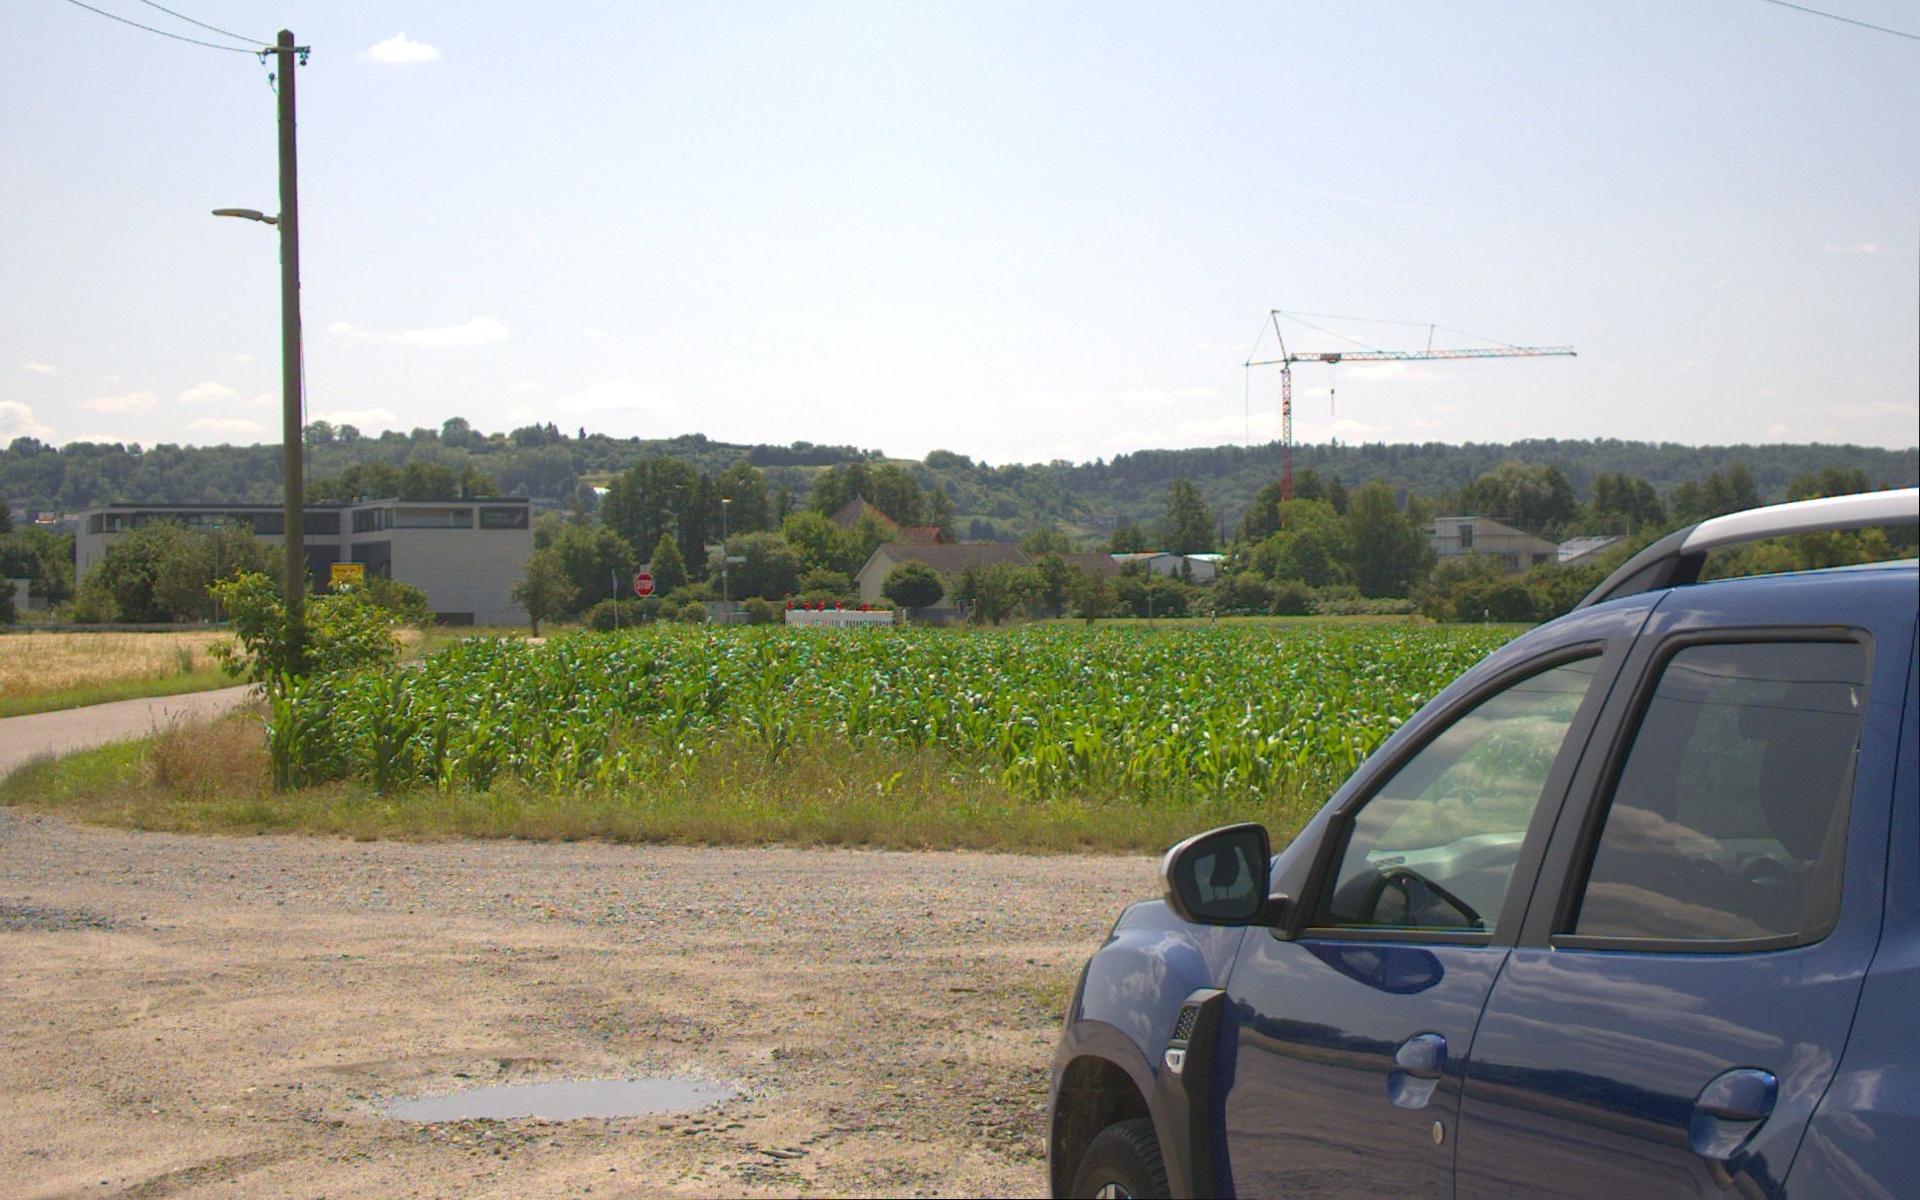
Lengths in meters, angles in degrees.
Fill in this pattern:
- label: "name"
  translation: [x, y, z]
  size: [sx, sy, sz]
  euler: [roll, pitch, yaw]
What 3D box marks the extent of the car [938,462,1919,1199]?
- label: "car"
  translation: [1.430, 0.728, 4.880]
  size: [1.858, 1.655, 4.459]
  euler: [1, -1, -15]
